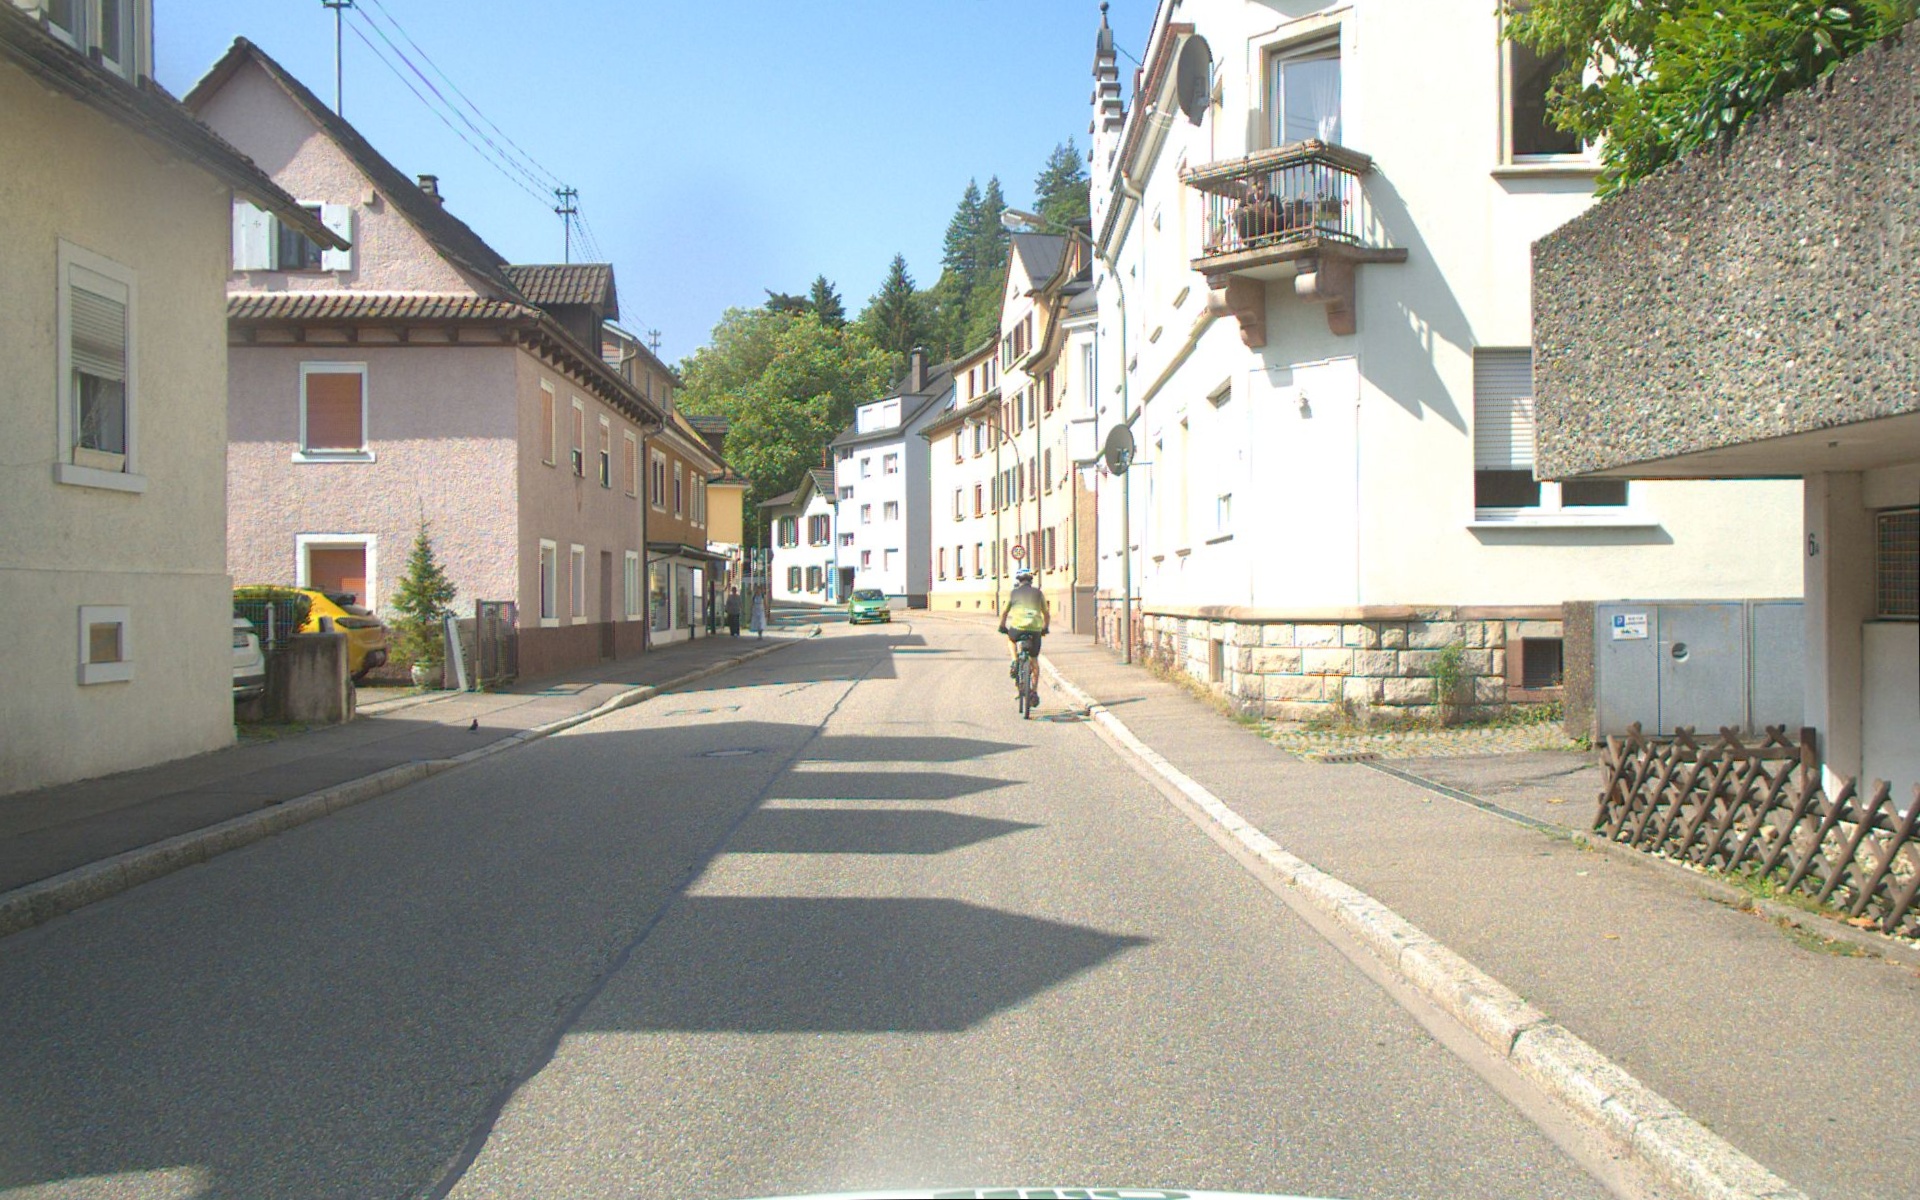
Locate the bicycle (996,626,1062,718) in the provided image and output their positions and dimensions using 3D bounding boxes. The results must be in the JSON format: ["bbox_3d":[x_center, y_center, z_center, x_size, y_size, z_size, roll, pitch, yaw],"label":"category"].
[{"bbox_3d":[0.835,0.860,20.251,0.684,1.053,1.470,0,1,-3],"label":"bicycle"}]

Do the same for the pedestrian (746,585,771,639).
[{"bbox_3d":[-6.301,0.369,51.767,0.626,1.654,0.777,2,0,-1],"label":"pedestrian"}]

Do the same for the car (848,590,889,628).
[{"bbox_3d":[-3.901,0.363,70.129,1.566,1.490,3.656,-4,0,-5],"label":"car"}]

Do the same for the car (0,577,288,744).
[{"bbox_3d":[-9.267,0.577,17.054,3.908,1.621,1.906,0,0,-4],"label":"car"}]

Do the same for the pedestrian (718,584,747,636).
[{"bbox_3d":[-7.114,0.314,51.686,0.720,1.592,0.824,2,0,-1],"label":"pedestrian"}]

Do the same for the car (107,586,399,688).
[{"bbox_3d":[-10.560,0.539,24.896,3.676,1.417,1.644,1,1,-4],"label":"car"}]

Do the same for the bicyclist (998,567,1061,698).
[{"bbox_3d":[0.841,0.384,20.228,0.672,1.558,0.715,-1,0,-3],"label":"bicyclist"}]

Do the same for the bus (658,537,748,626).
[{"bbox_3d":[-10.206,-0.732,66.517,2.764,3.284,9.029,1,0,-4],"label":"bus"}]
